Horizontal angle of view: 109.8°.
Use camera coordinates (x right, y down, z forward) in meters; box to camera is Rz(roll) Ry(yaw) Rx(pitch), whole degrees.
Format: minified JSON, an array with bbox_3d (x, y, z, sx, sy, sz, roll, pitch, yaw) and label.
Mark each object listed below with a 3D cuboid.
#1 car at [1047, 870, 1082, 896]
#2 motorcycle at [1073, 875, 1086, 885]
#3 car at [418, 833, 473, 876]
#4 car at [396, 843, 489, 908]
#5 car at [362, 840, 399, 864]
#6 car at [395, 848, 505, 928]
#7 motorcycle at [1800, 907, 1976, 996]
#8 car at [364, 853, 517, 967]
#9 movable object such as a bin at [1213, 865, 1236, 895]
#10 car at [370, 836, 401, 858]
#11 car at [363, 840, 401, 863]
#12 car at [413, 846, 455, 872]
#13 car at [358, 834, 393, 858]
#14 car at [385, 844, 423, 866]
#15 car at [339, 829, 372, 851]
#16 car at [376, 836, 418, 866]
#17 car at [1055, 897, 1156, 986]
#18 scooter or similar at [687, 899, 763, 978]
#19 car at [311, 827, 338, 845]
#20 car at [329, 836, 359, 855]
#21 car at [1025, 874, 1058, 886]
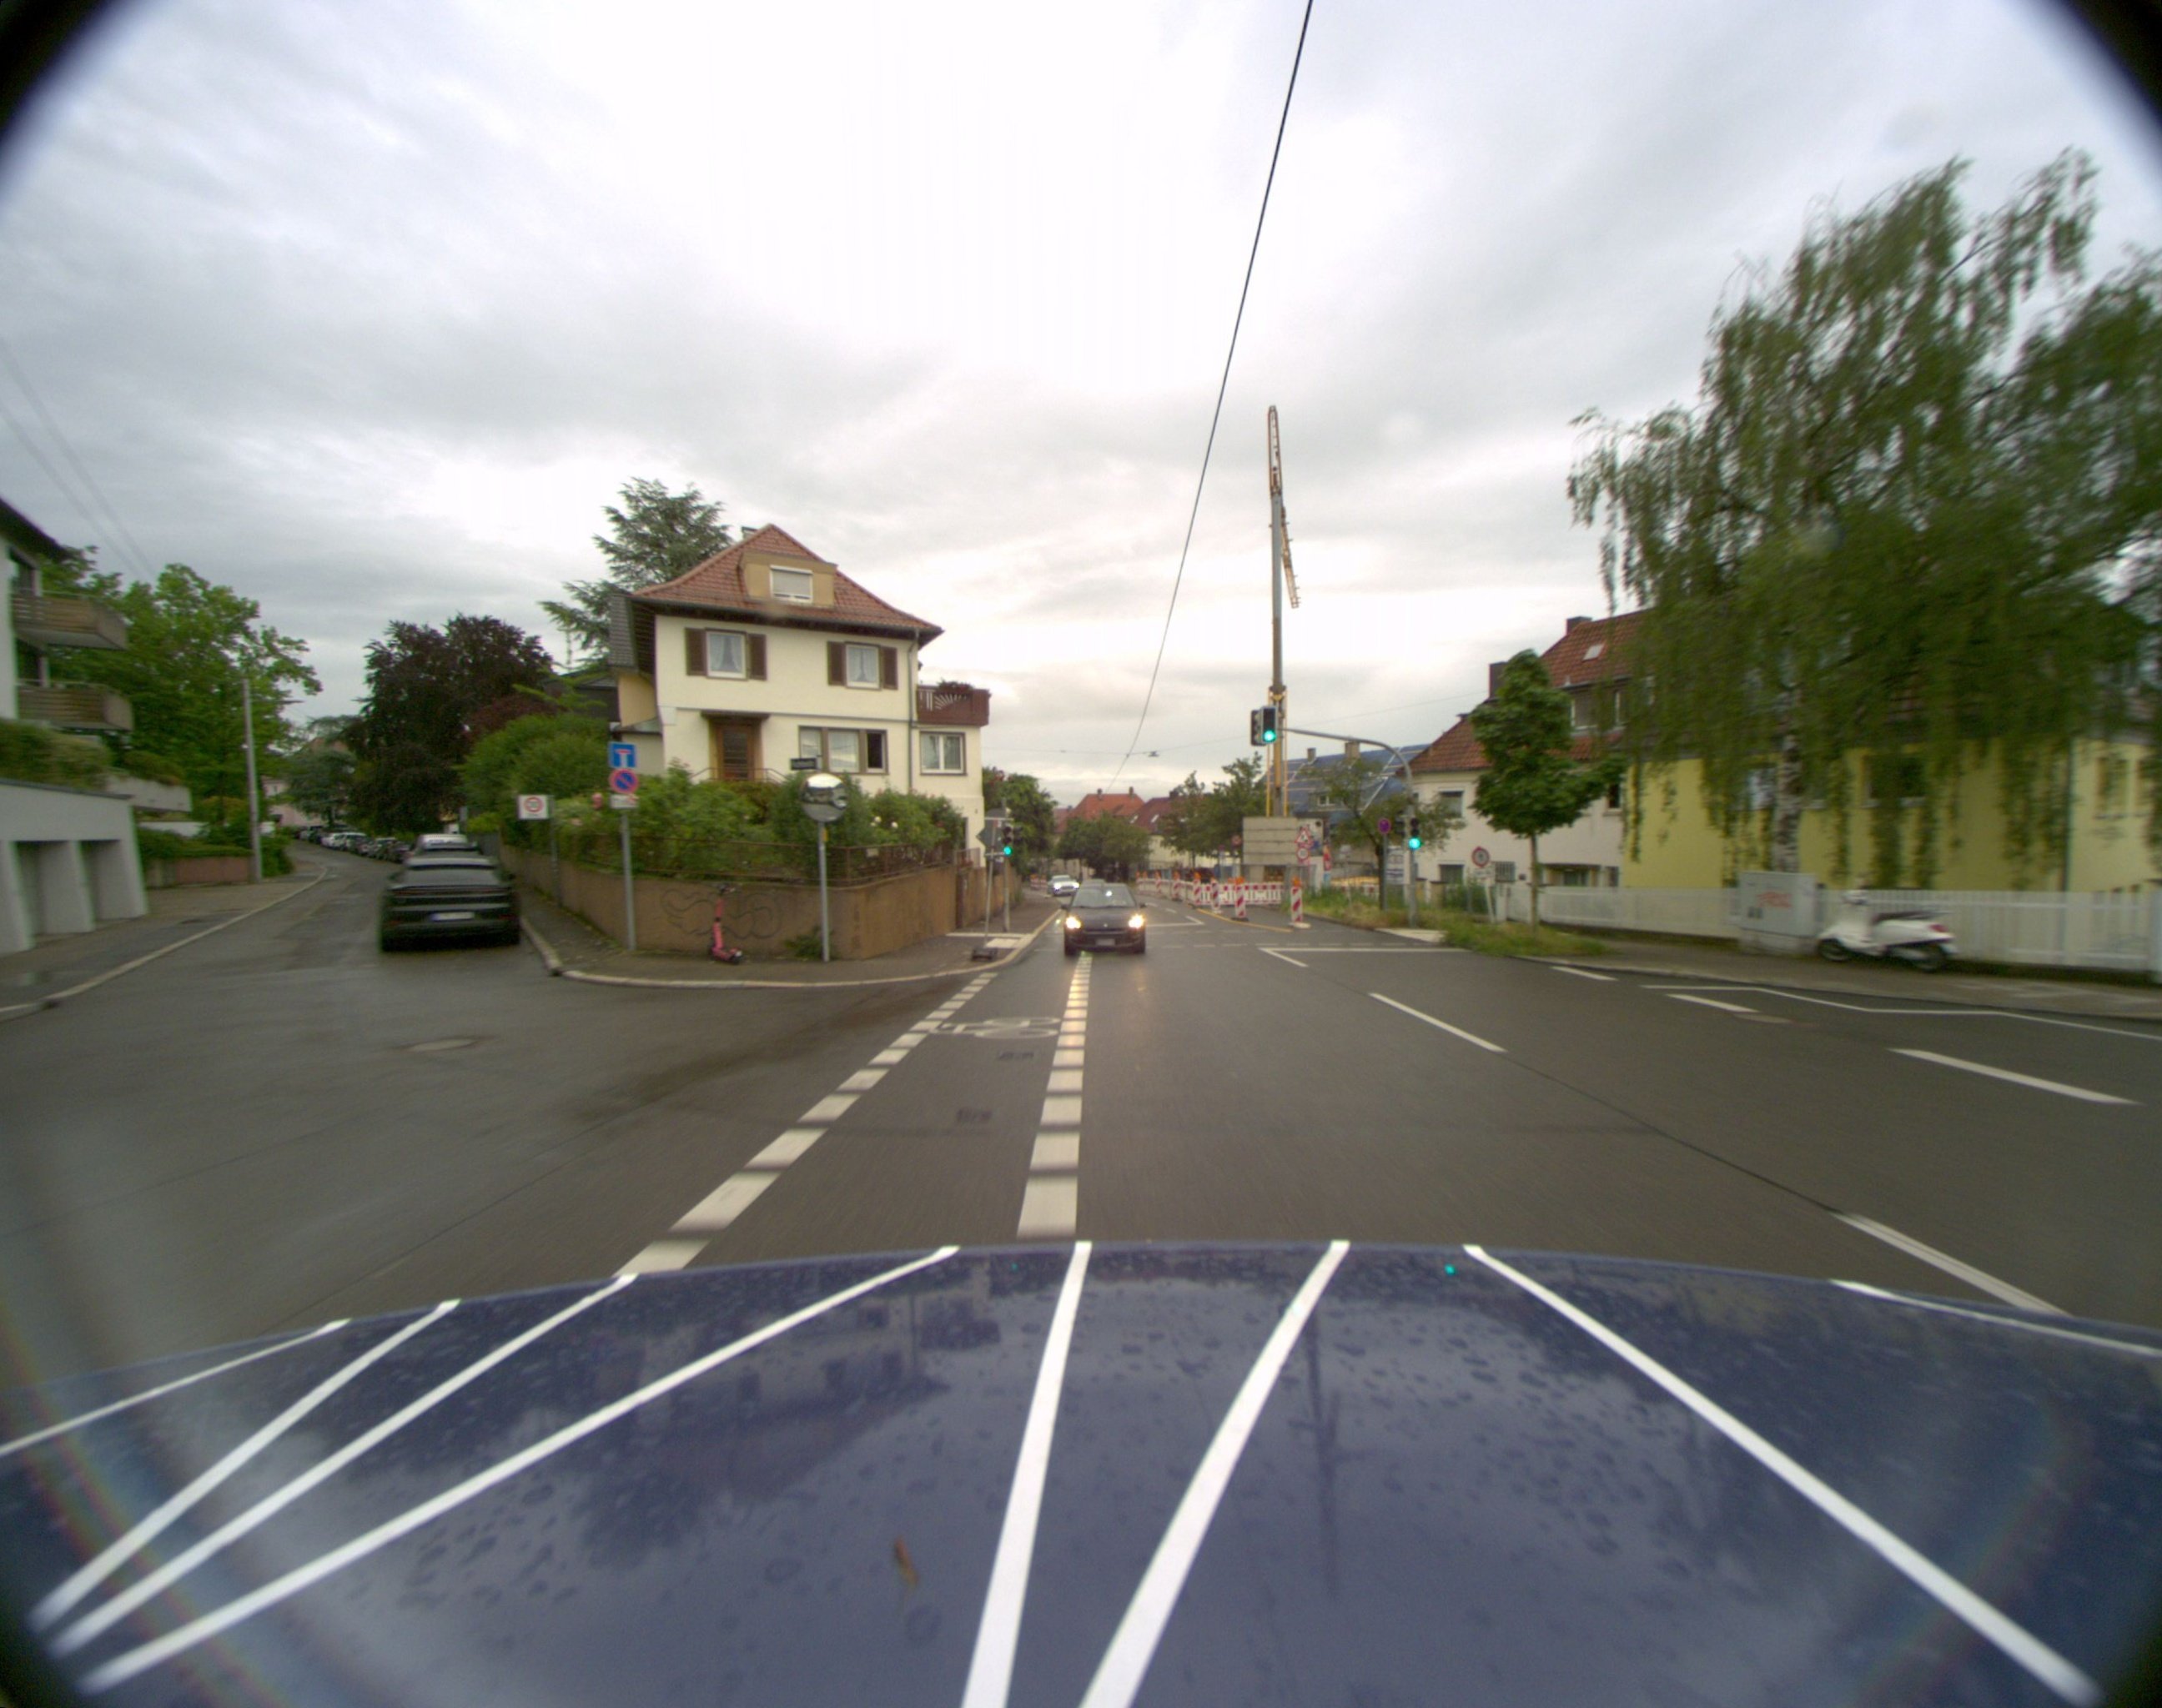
[{"bbox_3d":[-1.373,2.300,61.805,2.019,1.728,4.594,-6,1,-10],"label":"car"},{"bbox_3d":[-0.181,3.367,98.185,0.735,1.241,1.965,-4,0,-31],"label":"motorcycle"},{"bbox_3d":[-29.552,-0.028,35.360,1.879,1.831,4.357,0,2,-40],"label":"car"},{"bbox_3d":[-19.305,0.560,23.138,1.879,1.658,4.358,-5,4,-38],"label":"car"},{"bbox_3d":[-59.316,-0.185,64.314,2.003,1.718,3.989,-8,3,-44],"label":"car"},{"bbox_3d":[-15.792,0.736,19.168,1.879,1.633,4.357,-3,3,-38],"label":"car"},{"bbox_3d":[11.806,1.383,11.213,0.592,1.124,1.843,0,-1,-1],"label":"motorcycle"},{"bbox_3d":[-12.367,0.929,14.877,2.004,1.674,4.357,-1,3,-38],"label":"car"},{"bbox_3d":[12.192,2.234,64.608,1.318,2.490,1.384,-2,-1,-23],"label":"movable object such as a bin"},{"bbox_3d":[-55.386,-0.522,60.550,1.748,1.674,3.989,2,-2,-42],"label":"car"},{"bbox_3d":[-48.428,-0.143,52.640,1.746,1.276,3.989,-8,3,-42],"label":"car"},{"bbox_3d":[-33.899,0.236,39.772,1.583,1.254,3.773,-1,2,-41],"label":"car"},{"bbox_3d":[-62.599,-0.708,67.404,2.003,1.718,3.989,-8,3,-44],"label":"car"},{"bbox_3d":[-43.584,0.025,48.939,1.712,1.254,3.773,-2,3,-41],"label":"car"},{"bbox_3d":[-68.268,-1.288,71.500,2.003,1.718,3.989,-8,3,-44],"label":"car"},{"bbox_3d":[-51.171,-0.201,56.898,1.722,2.003,3.990,-7,3,-35],"label":"car"},{"bbox_3d":[0.522,1.691,15.795,1.746,1.433,4.361,-3,-2,2],"label":"car"},{"bbox_3d":[-5.812,1.330,12.357,0.654,1.051,1.554,1,2,-42],"label":"scooter or similar"},{"bbox_3d":[-80.780,-1.893,81.122,3.723,1.667,1.747,-1,5,43],"label":"car"},{"bbox_3d":[-72.391,-0.853,74.620,3.723,1.667,1.747,-1,5,43],"label":"car"},{"bbox_3d":[-5.636,3.774,109.412,4.259,1.495,1.910,5,-3,-25],"label":"car"}]
